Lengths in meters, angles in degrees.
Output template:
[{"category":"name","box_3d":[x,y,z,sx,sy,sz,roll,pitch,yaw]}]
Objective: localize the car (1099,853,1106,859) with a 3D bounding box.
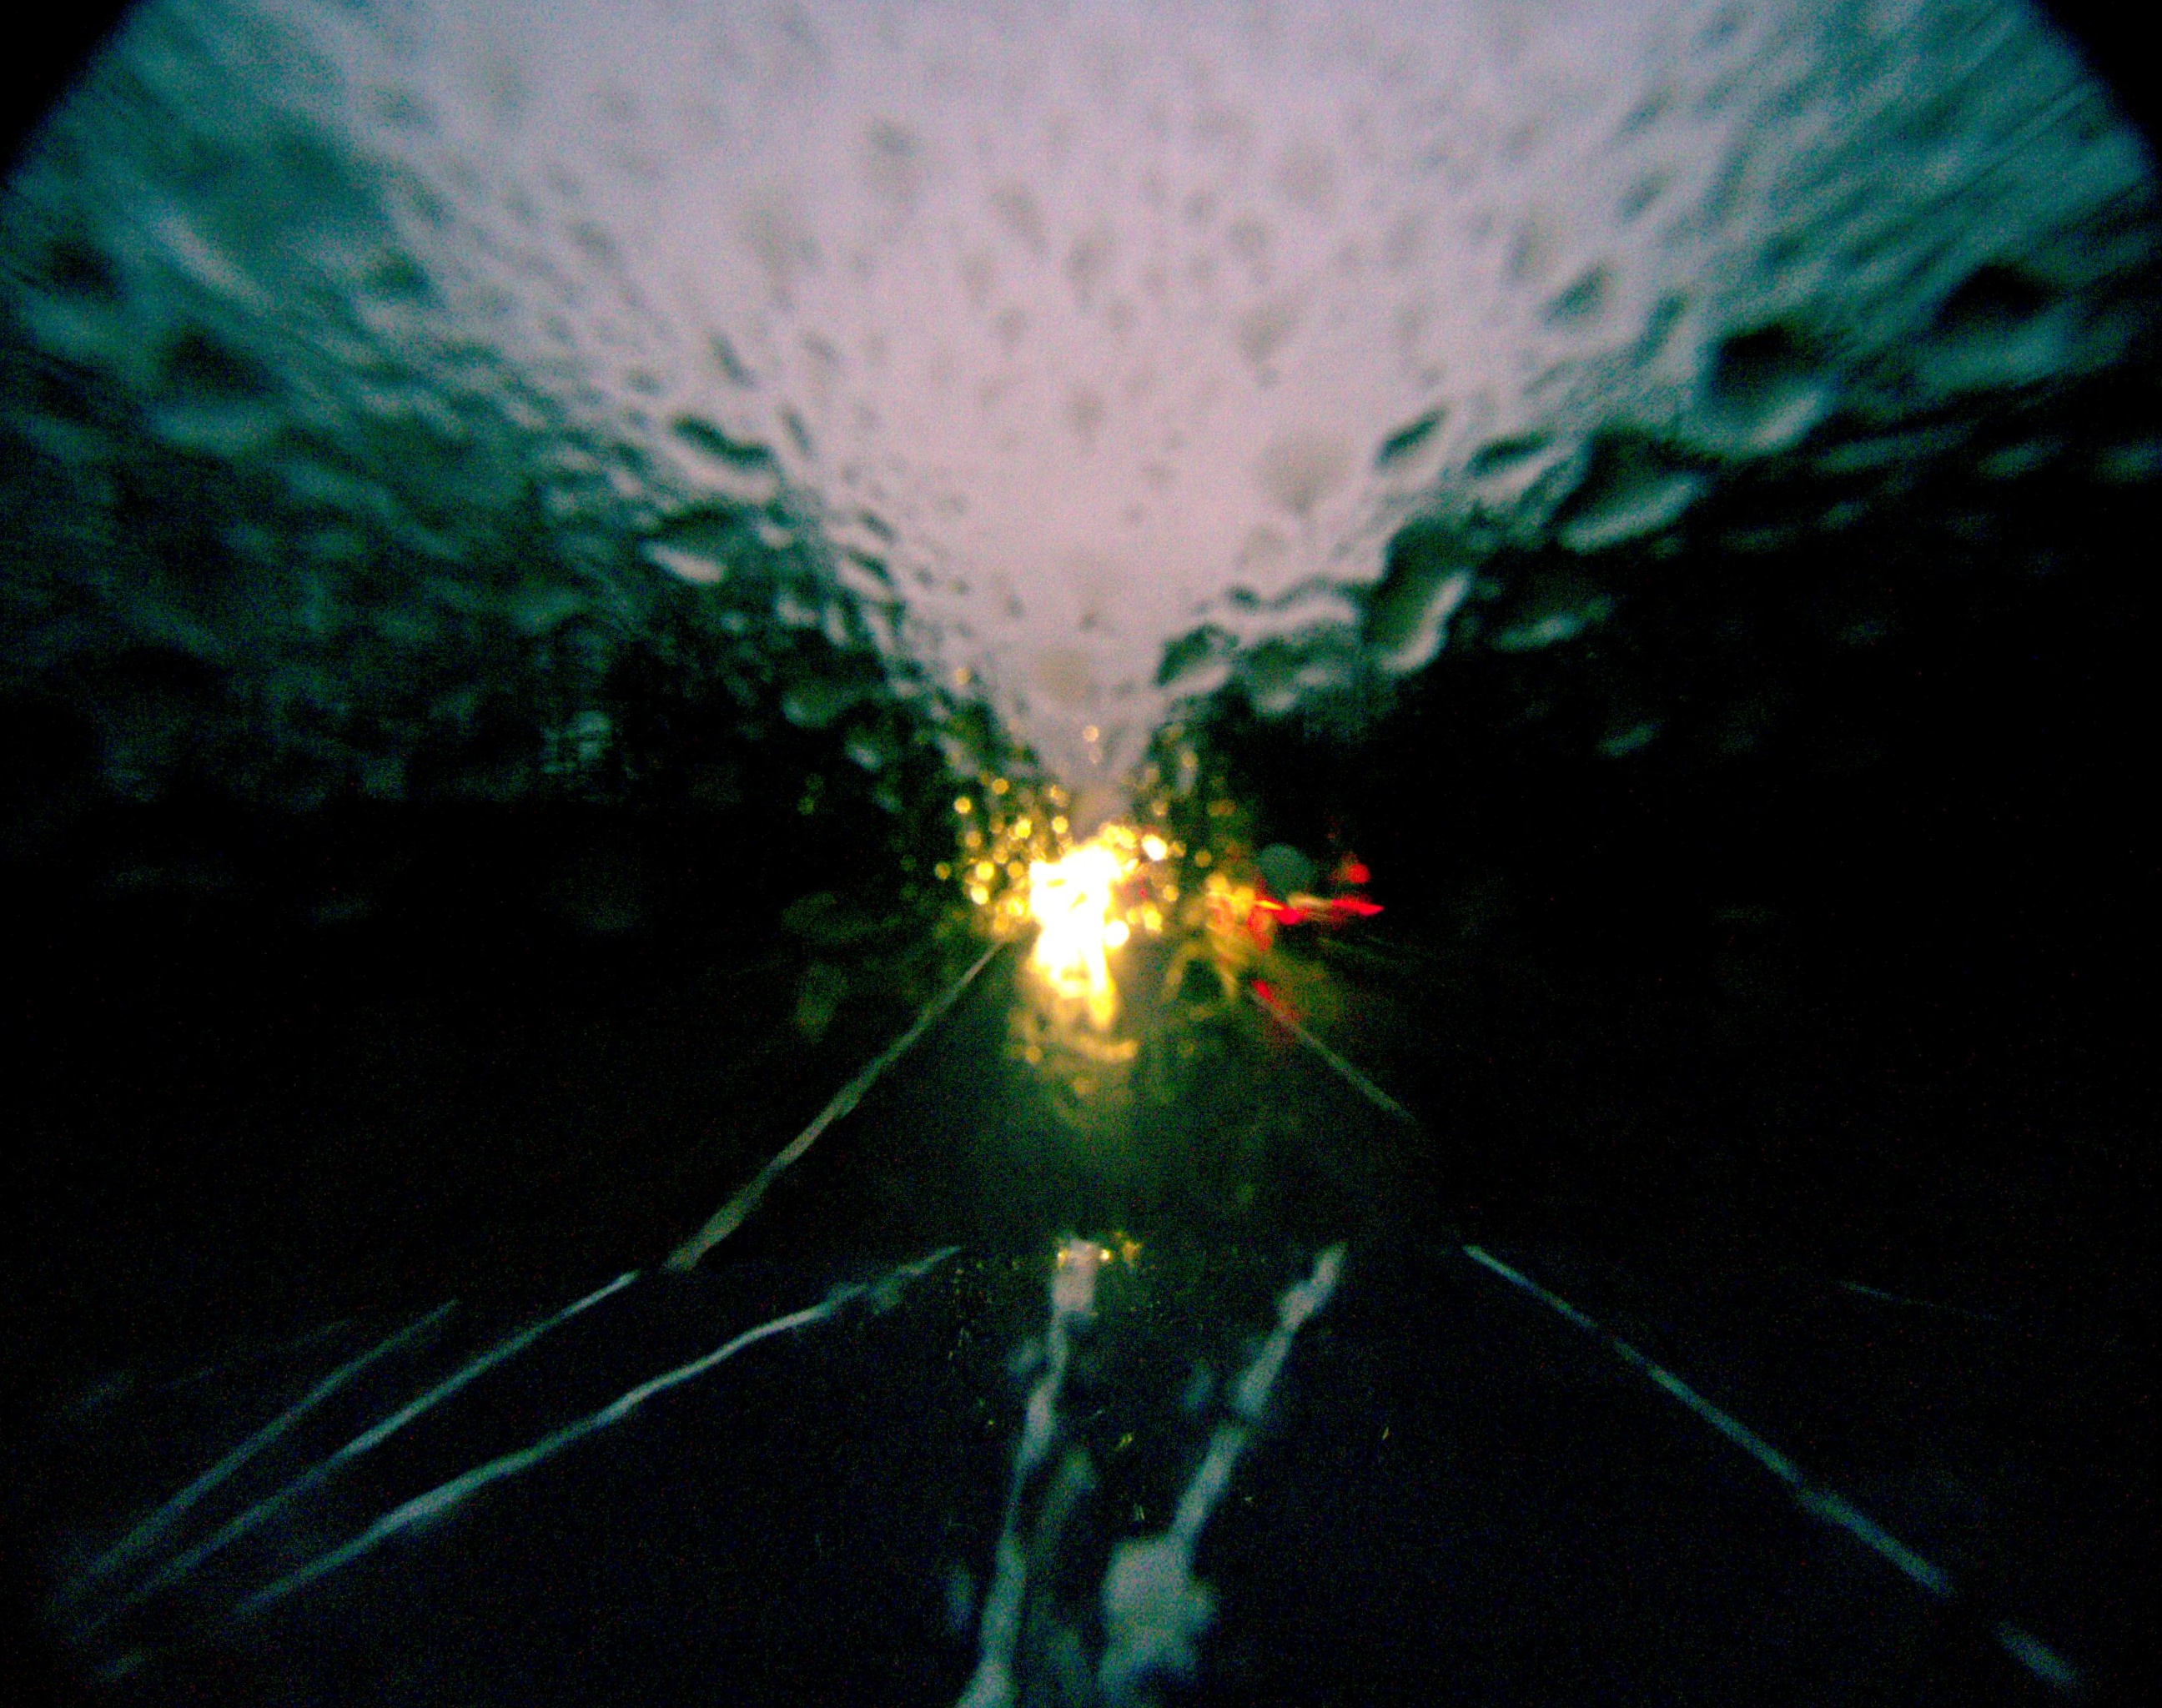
[{"category":"car","box_3d":[6.264,0.526,222.768,1.708,1.355,4.376,-5,-1,-3]}]

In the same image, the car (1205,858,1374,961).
[{"category":"car","box_3d":[3.404,0.815,13.314,1.769,1.449,4.507,0,0,1]}]

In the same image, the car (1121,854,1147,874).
[{"category":"car","box_3d":[4.085,0.761,58.929,1.803,1.453,4.176,0,0,1]}]

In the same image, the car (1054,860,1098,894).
[{"category":"car","box_3d":[-0.176,1.007,34.431,1.845,1.390,4.000,-1,0,1]}]

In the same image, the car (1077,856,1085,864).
[{"category":"car","box_3d":[0.075,1.535,205.899,1.998,2.002,3.999,-2,1,0]}]
